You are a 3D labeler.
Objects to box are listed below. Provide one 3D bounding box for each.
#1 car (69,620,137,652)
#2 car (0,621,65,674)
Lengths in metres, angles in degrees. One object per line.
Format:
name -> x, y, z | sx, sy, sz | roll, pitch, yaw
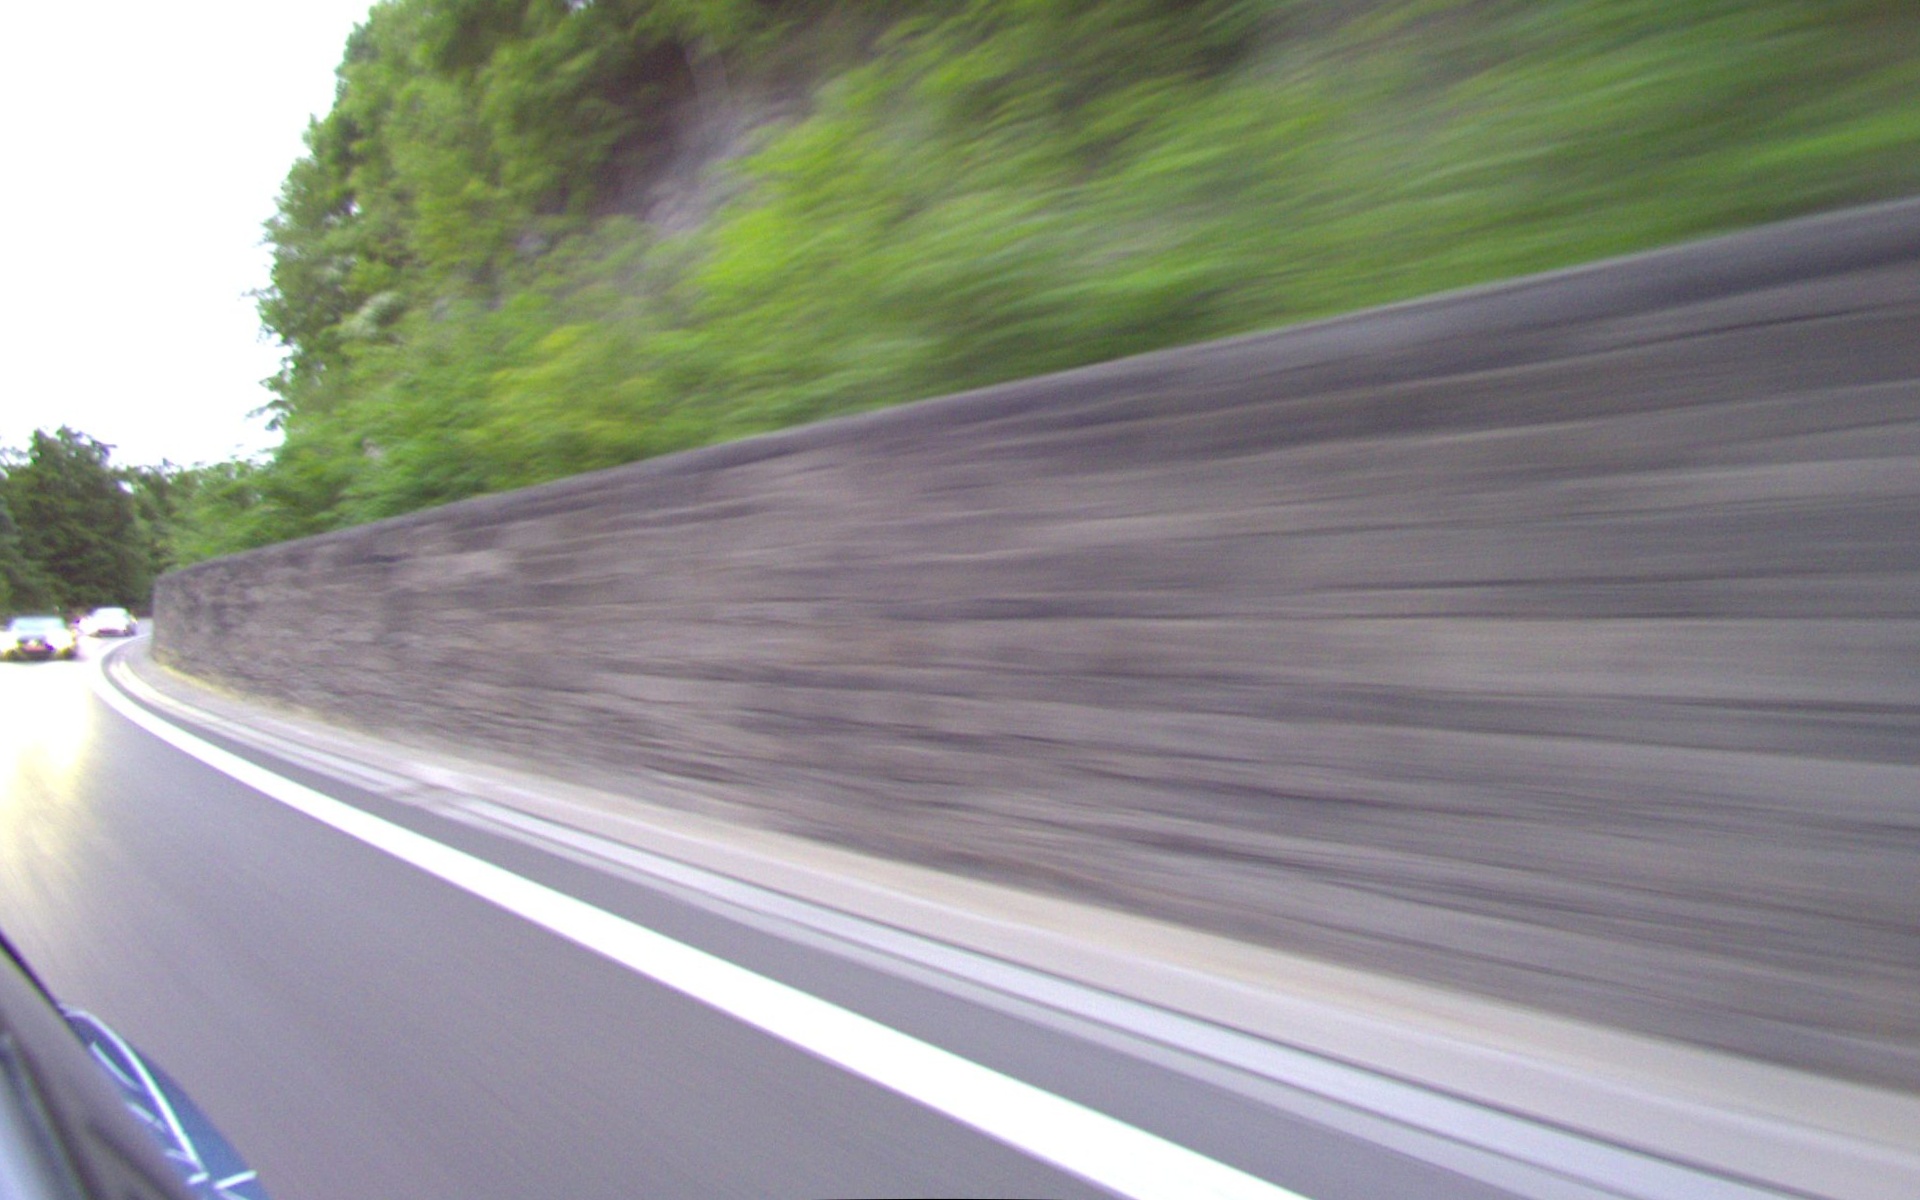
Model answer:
car -> -46.249, 1.888, 54.724 | 1.966, 1.519, 4.013 | -2, 1, -28
car -> -30.581, 1.509, 33.019 | 1.969, 1.519, 4.005 | 2, -1, -42
